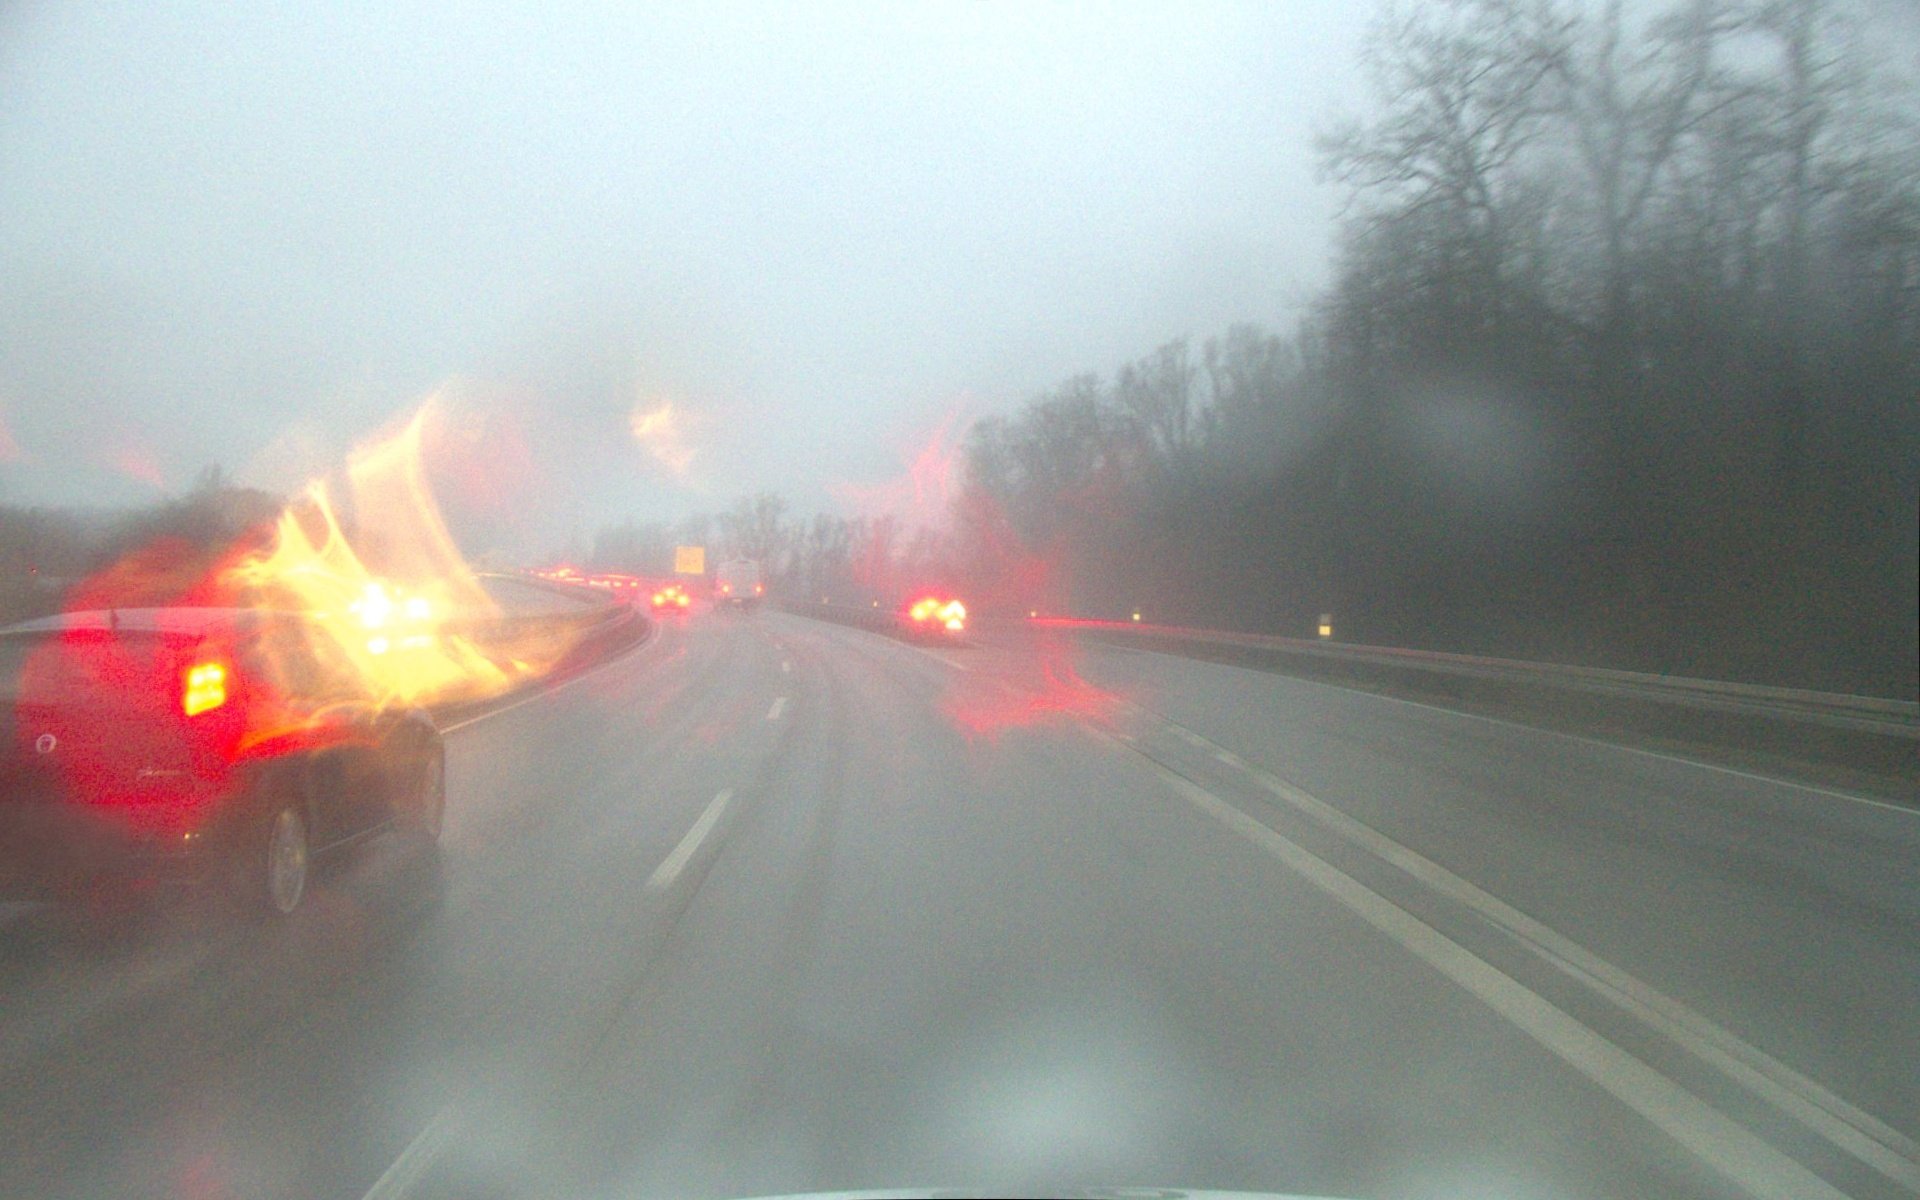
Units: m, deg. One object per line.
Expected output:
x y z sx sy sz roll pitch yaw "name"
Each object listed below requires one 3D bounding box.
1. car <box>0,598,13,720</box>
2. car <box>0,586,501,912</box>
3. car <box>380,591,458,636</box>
-14.342 0.827 21.207 1.757 1.713 4.688 0 0 -1 "car"
-3.772 0.702 9.250 1.594 1.416 3.995 1 -1 -5 "car"
-21.124 0.501 64.754 1.955 1.702 4.423 0 0 -6 "car"
